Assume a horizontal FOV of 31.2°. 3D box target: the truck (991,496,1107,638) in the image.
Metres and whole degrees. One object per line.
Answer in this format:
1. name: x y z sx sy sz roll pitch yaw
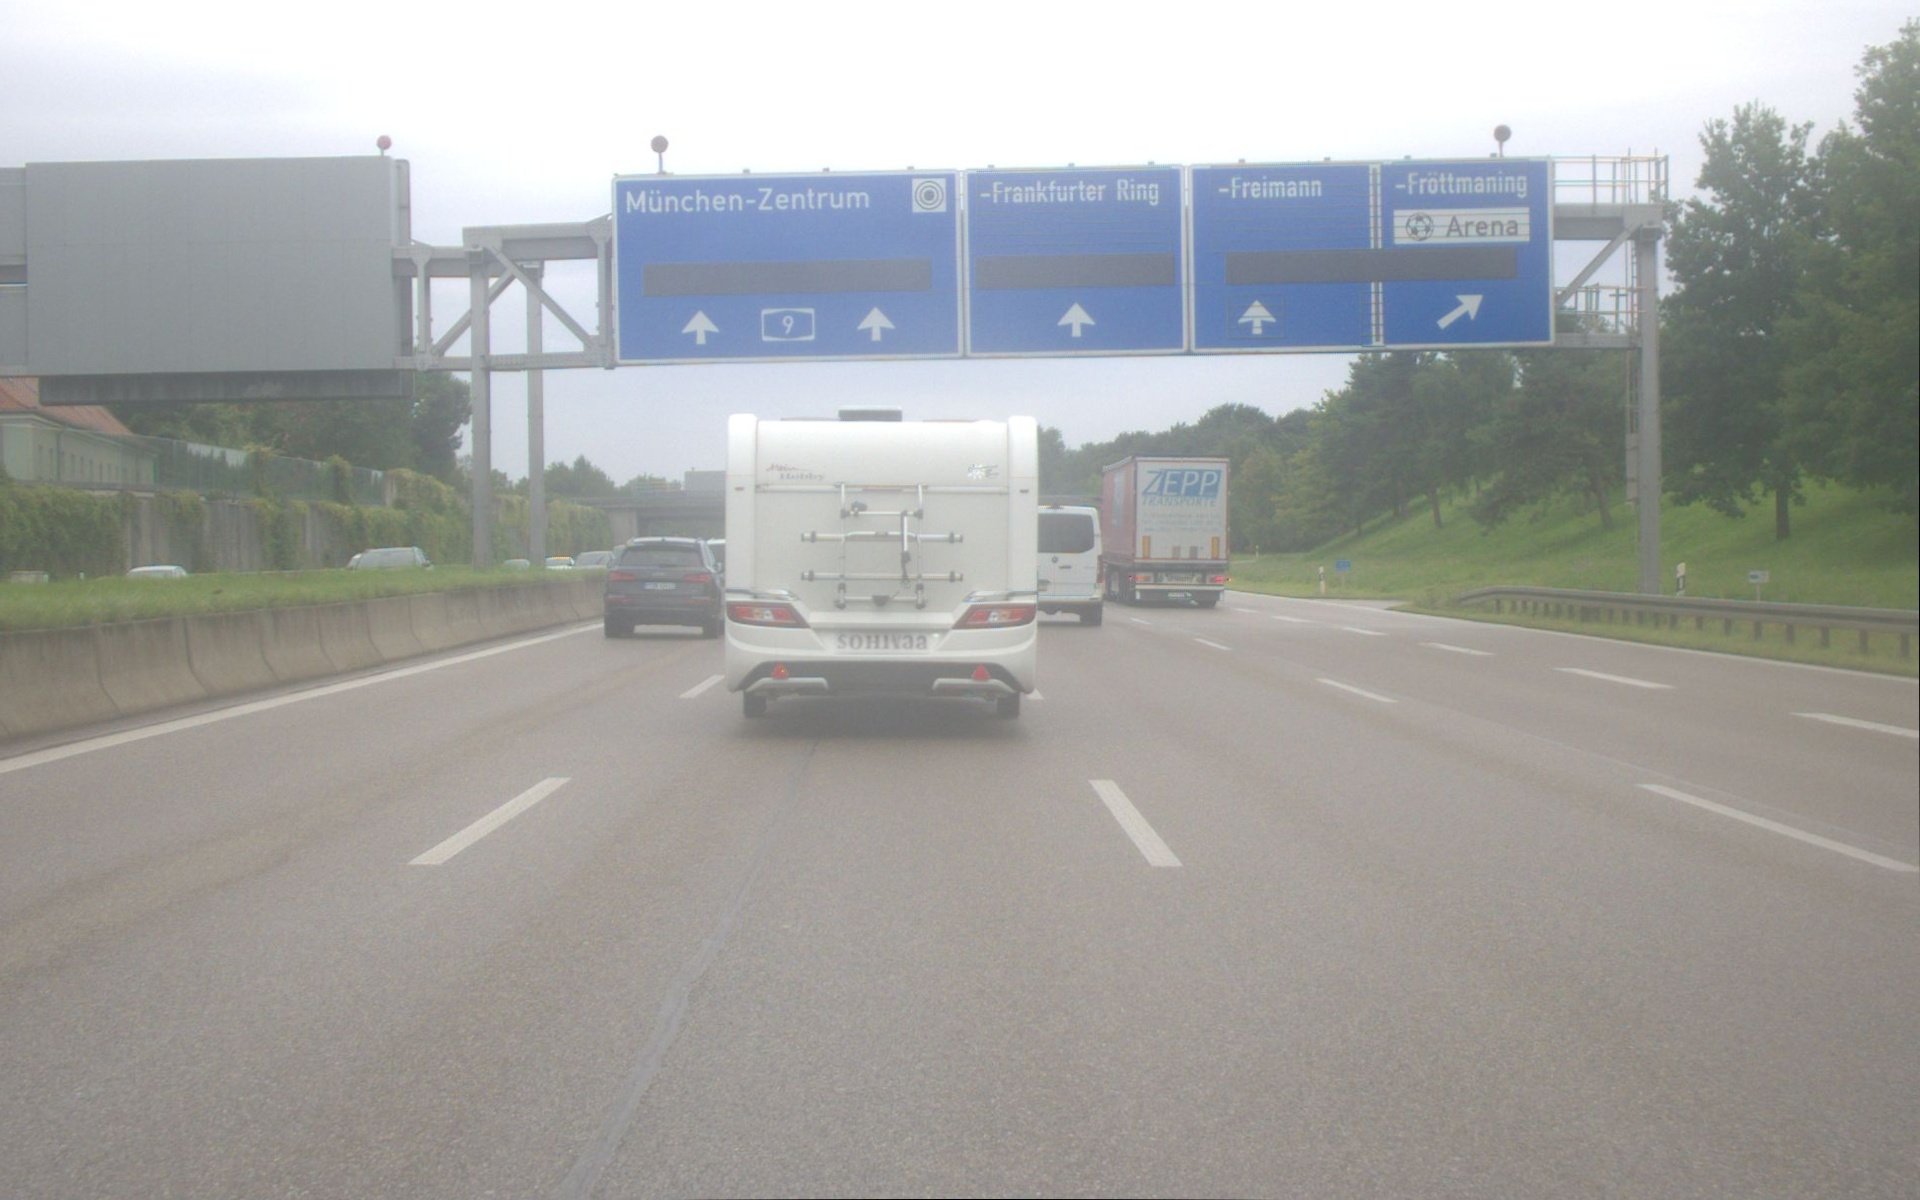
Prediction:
1. truck: 1.774 -0.672 70.180 2.053 2.760 5.549 1 1 -1

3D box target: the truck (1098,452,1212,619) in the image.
1. truck: 5.794 -1.916 103.206 3.048 4.823 5.850 1 0 0

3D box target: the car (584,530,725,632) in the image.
1. car: -5.059 -0.327 57.555 1.993 1.594 5.124 1 1 -1

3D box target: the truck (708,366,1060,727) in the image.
1. truck: -0.636 -0.433 28.992 2.661 2.733 5.078 1 1 -1

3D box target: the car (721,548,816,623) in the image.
1. car: -4.658 -0.350 84.162 2.128 1.700 4.113 2 0 -1

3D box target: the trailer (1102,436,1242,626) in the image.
1. trailer: 5.785 -1.848 95.665 3.100 4.905 11.790 1 1 0
